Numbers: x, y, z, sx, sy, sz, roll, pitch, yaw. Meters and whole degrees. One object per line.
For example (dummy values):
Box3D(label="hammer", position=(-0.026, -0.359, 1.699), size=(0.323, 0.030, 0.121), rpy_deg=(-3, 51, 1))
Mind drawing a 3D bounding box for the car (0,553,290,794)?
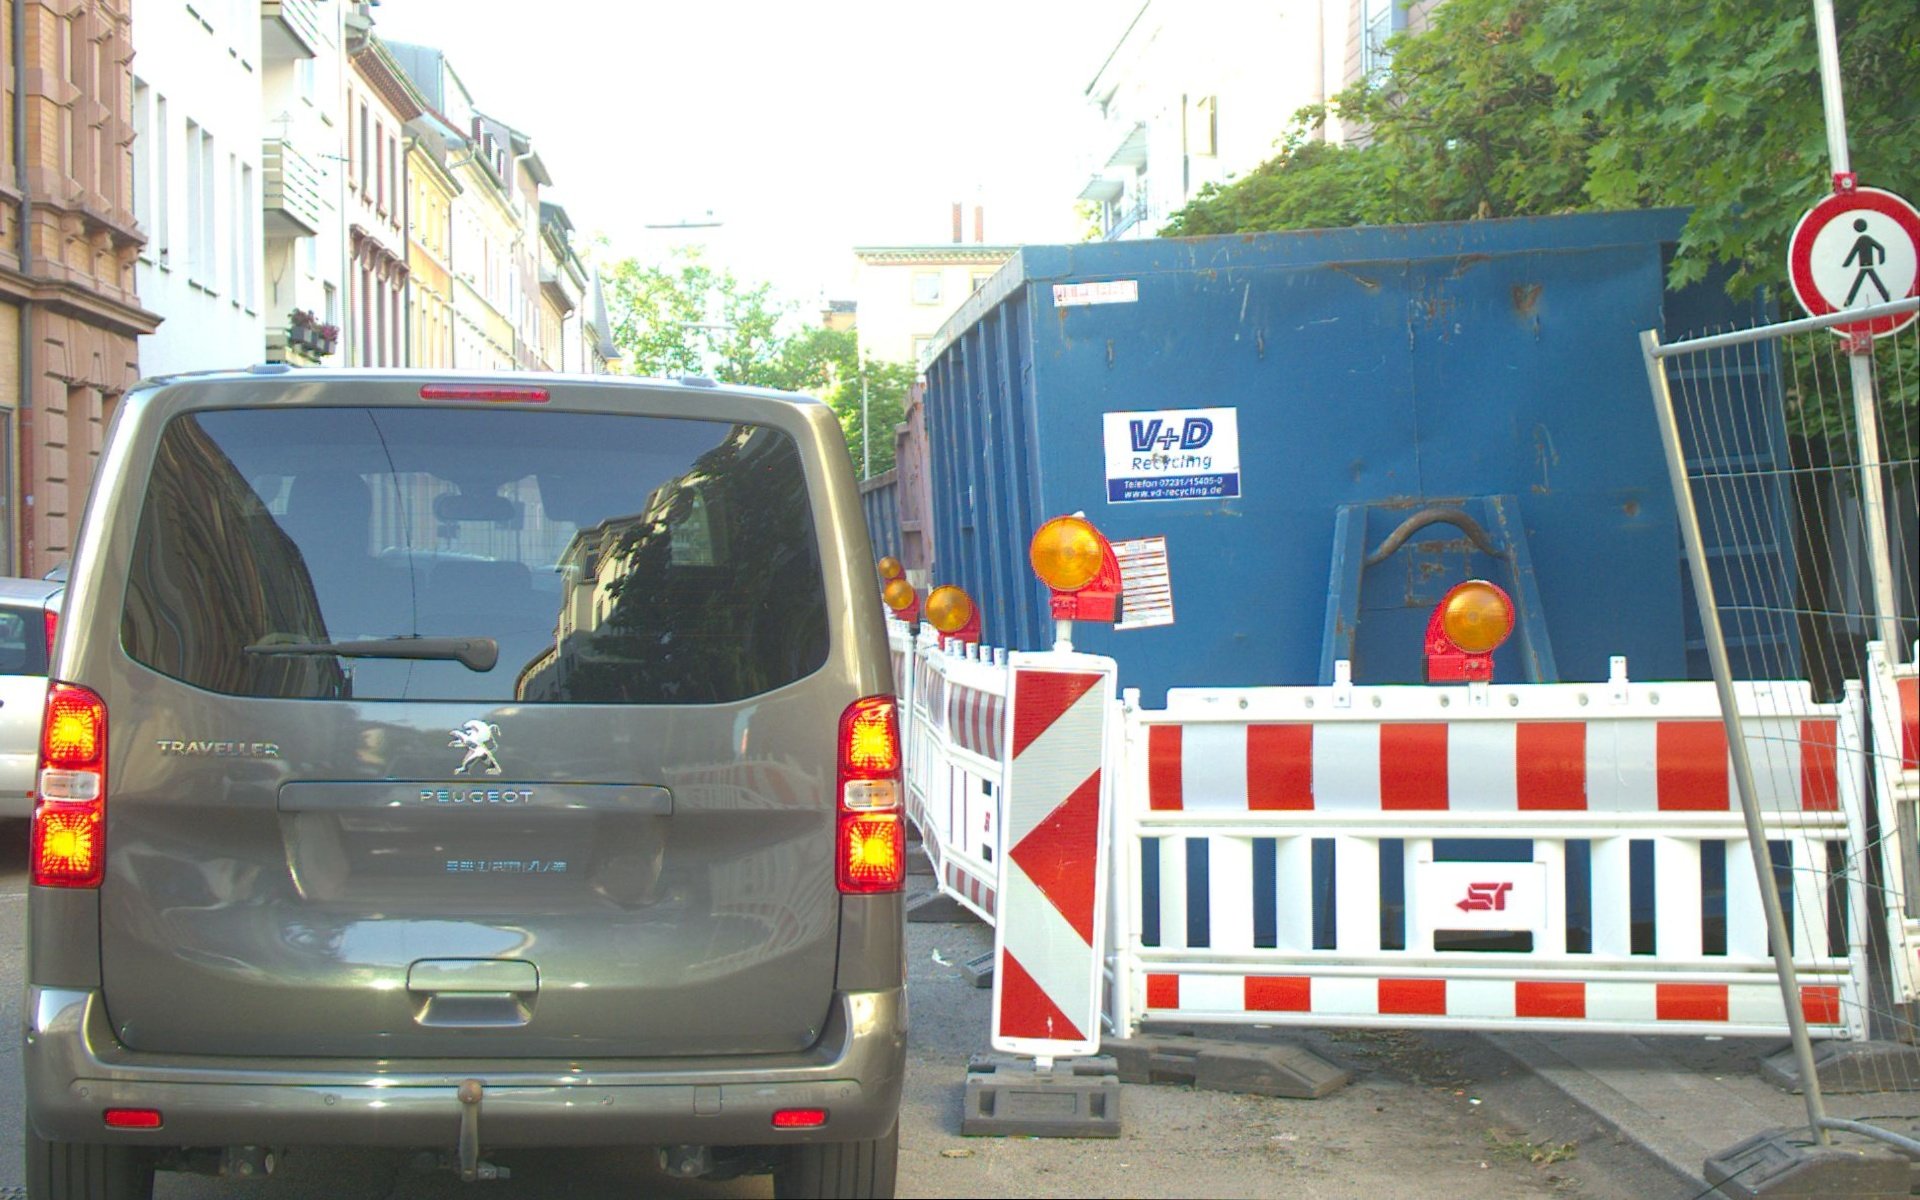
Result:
Box3D(label="car", position=(-5.709, 0.456, 24.025), size=(1.555, 1.503, 3.598), rpy_deg=(2, 1, -4))

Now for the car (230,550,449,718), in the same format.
Box3D(label="car", position=(-6.203, 0.295, 34.726), size=(1.740, 1.594, 4.015), rpy_deg=(0, 1, -4))

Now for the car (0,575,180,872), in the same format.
Box3D(label="car", position=(-5.290, 0.592, 18.526), size=(1.632, 1.425, 3.556), rpy_deg=(0, 1, -5))

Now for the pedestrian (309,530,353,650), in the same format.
Box3D(label="pedestrian", position=(-8.675, -0.135, 47.417), size=(0.495, 1.633, 0.666), rpy_deg=(1, 0, -3))

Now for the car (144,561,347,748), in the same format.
Box3D(label="car", position=(-6.319, 0.446, 30.622), size=(1.395, 1.583, 2.794), rpy_deg=(0, 1, -4))

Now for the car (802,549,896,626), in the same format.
Box3D(label="car", position=(-2.437, -0.282, 74.588), size=(1.722, 1.606, 4.589), rpy_deg=(-1, 1, -6))

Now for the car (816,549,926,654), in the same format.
Box3D(label="car", position=(-1.480, -0.014, 57.369), size=(1.749, 1.677, 4.526), rpy_deg=(0, 1, -1))

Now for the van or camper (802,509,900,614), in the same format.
Box3D(label="van or camper", position=(-2.926, -1.018, 90.596), size=(2.099, 2.593, 7.514), rpy_deg=(-2, 1, -5))

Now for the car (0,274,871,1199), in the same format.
Box3D(label="car", position=(-1.270, 0.378, 8.591), size=(1.857, 2.007, 4.001), rpy_deg=(-2, 1, -4))
